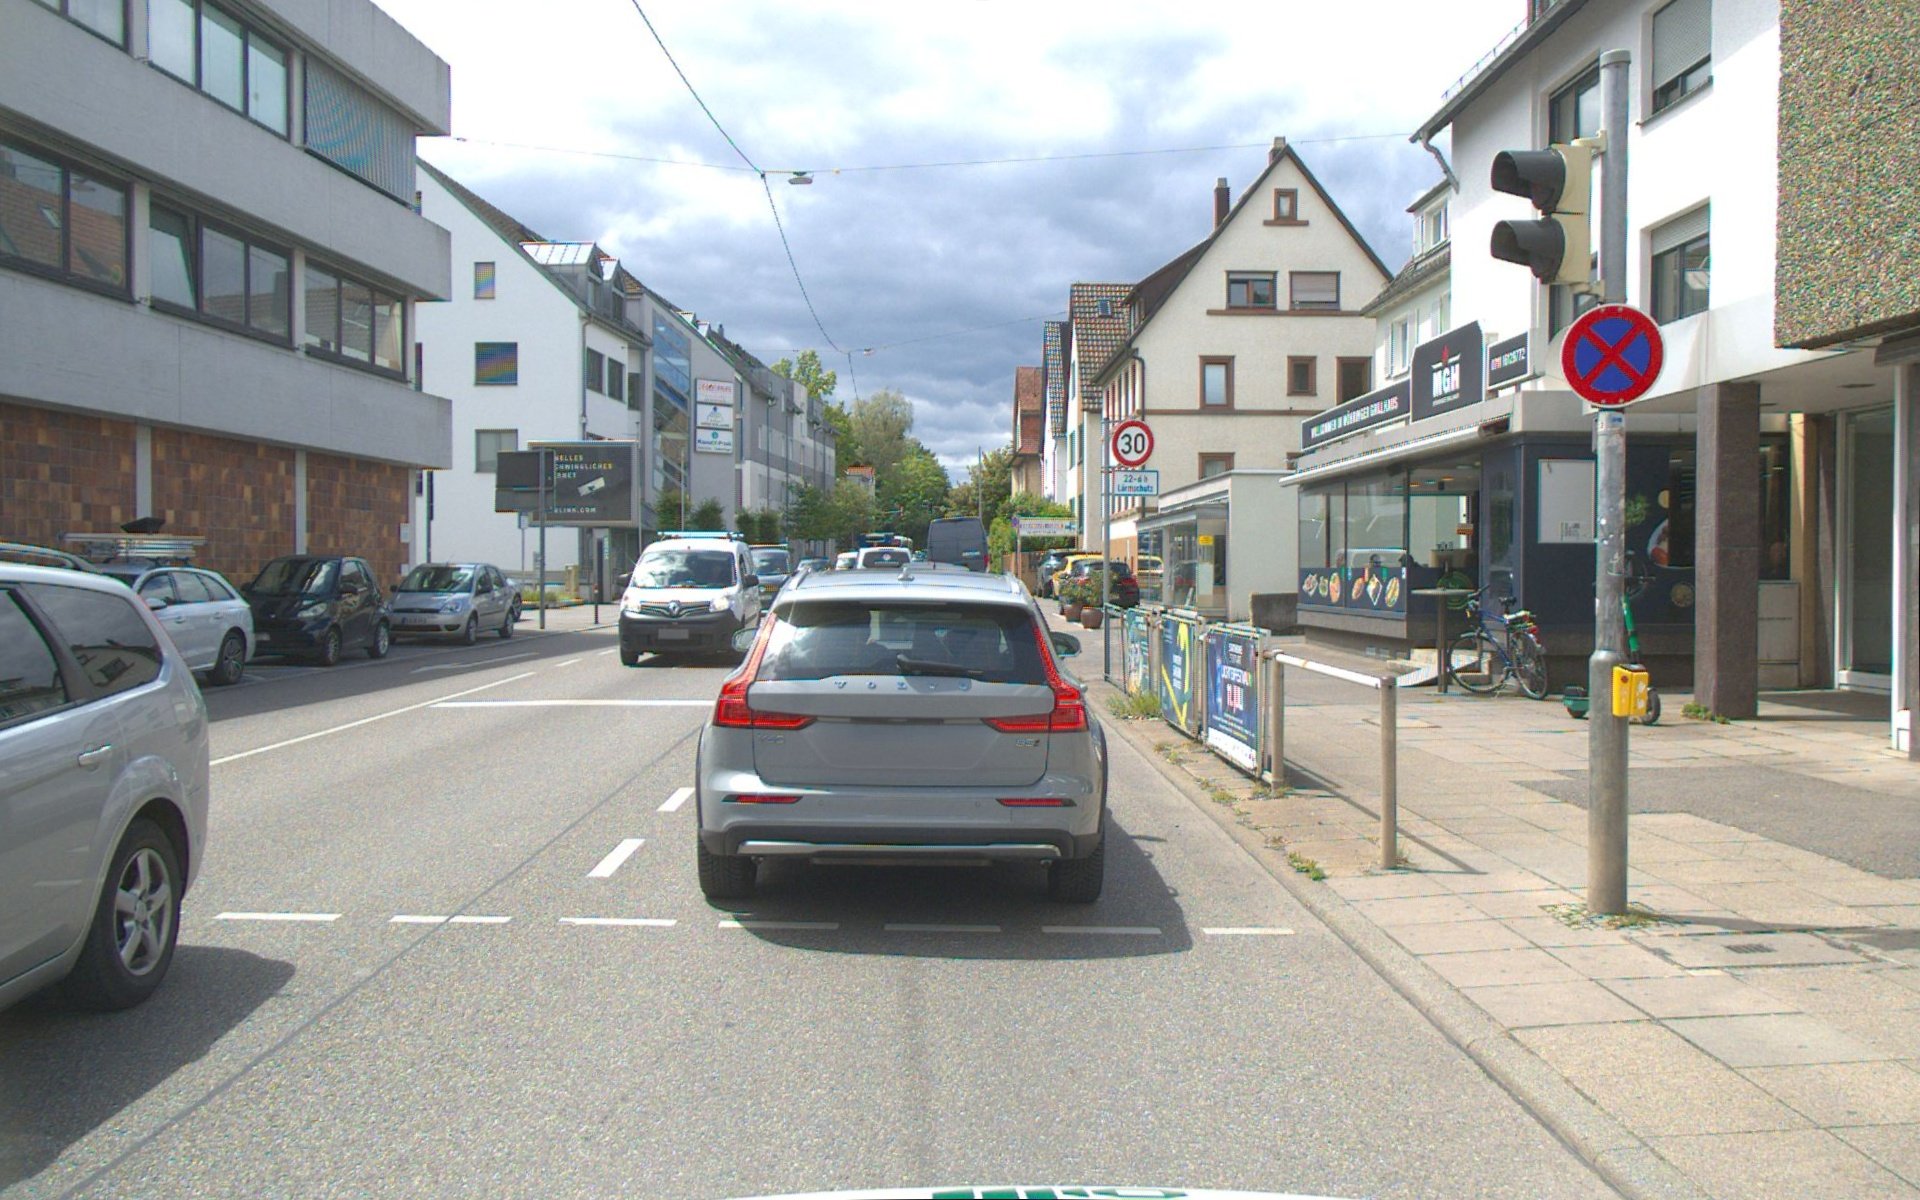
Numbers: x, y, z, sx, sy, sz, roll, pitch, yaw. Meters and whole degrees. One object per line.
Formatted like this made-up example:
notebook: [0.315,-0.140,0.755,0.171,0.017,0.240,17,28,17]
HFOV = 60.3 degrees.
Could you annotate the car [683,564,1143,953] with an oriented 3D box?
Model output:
car: [-0.243,0.577,8.467,1.799,1.512,3.999,0,1,-2]

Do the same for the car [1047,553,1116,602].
car: [3.759,-0.674,51.846,1.844,1.440,3.971,1,0,-1]

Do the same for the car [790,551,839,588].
car: [-5.894,-1.266,67.269,1.727,1.451,3.999,-1,2,-2]

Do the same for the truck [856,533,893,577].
truck: [-5.934,-3.138,115.135,2.229,2.936,7.079,-1,2,-1]

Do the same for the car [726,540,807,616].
car: [-5.312,-0.621,45.866,1.801,1.950,4.530,-1,1,-2]

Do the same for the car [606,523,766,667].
car: [-4.003,-0.104,24.775,1.801,1.951,4.155,1,1,-2]

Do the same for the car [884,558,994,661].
car: [-0.361,0.114,26.282,1.617,1.508,3.606,1,1,-2]

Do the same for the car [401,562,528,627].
car: [-11.772,-0.164,39.532,1.867,1.422,3.842,-1,2,-1]

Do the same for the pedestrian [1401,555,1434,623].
pedestrian: [7.264,-0.181,26.242,0.406,1.070,0.367,-1,1,-3]

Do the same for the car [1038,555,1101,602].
car: [3.686,-0.713,56.184,1.844,1.526,3.971,1,0,-1]

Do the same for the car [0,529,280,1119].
car: [-3.382,0.601,4.202,1.635,1.581,4.214,0,1,-1]

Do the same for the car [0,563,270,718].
car: [-9.742,0.352,18.659,1.864,1.468,4.445,1,2,3]

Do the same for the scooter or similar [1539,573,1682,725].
scooter or similar: [5.744,0.422,14.654,0.336,1.275,1.235,-3,1,-27]

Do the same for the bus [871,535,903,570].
bus: [-5.811,-3.776,131.760,2.229,2.714,7.429,-1,2,-1]

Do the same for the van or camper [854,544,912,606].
van or camper: [-2.415,-0.755,52.790,1.782,1.867,3.998,0,-1,-2]

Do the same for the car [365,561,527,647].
car: [-9.515,0.025,30.915,1.719,1.451,3.863,-1,2,1]

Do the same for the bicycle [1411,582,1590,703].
bicycle: [5.704,0.410,17.623,0.546,1.164,2.288,-1,2,-19]

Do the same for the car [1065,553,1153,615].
car: [3.793,-0.386,42.553,1.676,1.489,3.997,1,0,-3]

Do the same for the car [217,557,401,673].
car: [-9.586,0.167,24.562,1.575,1.570,2.944,2,2,-1]

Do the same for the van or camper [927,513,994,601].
van or camper: [-0.004,-1.399,54.156,2.080,2.733,4.781,-1,1,-1]

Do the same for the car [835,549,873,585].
car: [-5.586,-1.780,87.552,1.761,1.847,4.000,-1,2,-1]
